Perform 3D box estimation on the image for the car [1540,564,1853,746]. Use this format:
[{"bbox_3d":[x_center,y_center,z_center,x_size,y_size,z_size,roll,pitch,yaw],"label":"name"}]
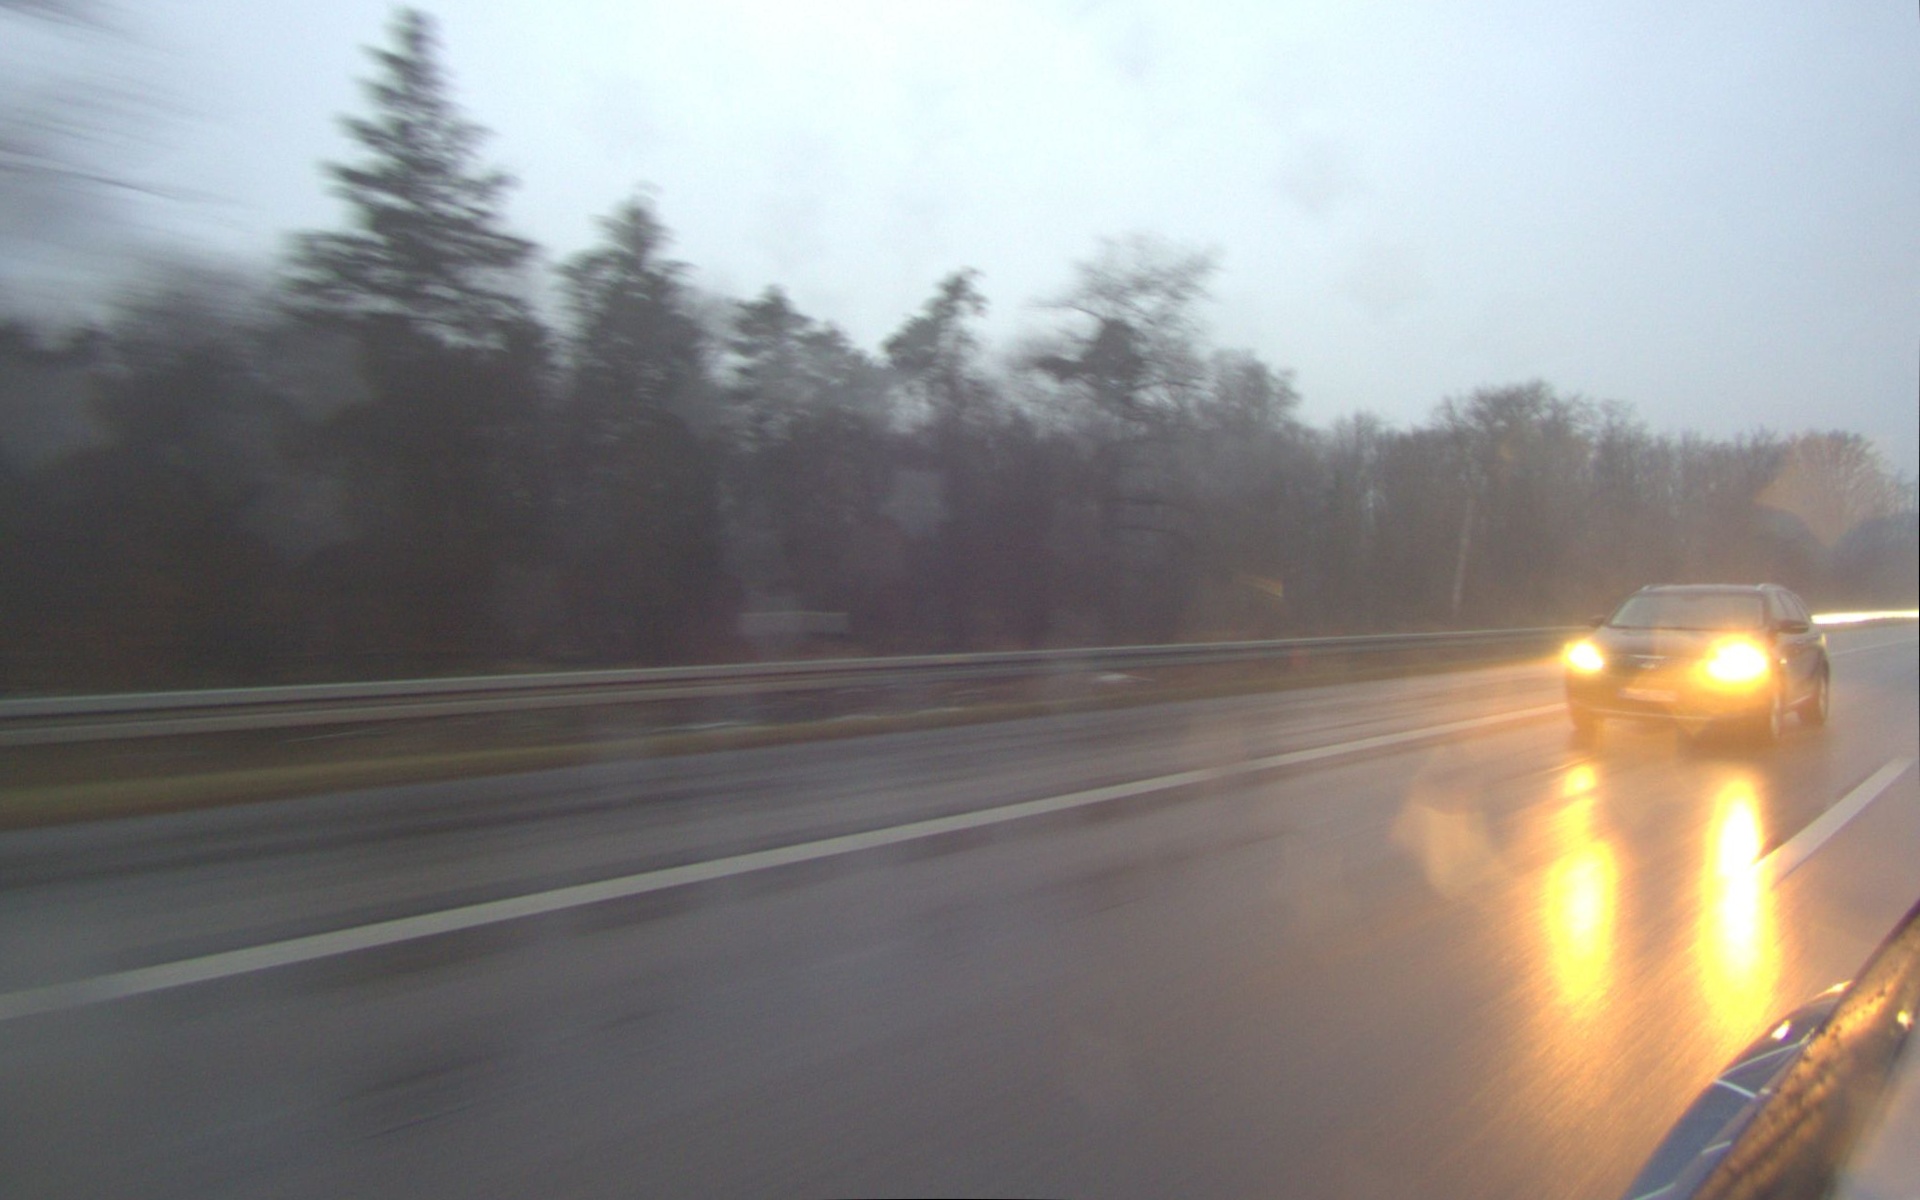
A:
[{"bbox_3d":[8.716,0.503,11.842,4.384,1.719,2.074,0,1,-41],"label":"car"}]
